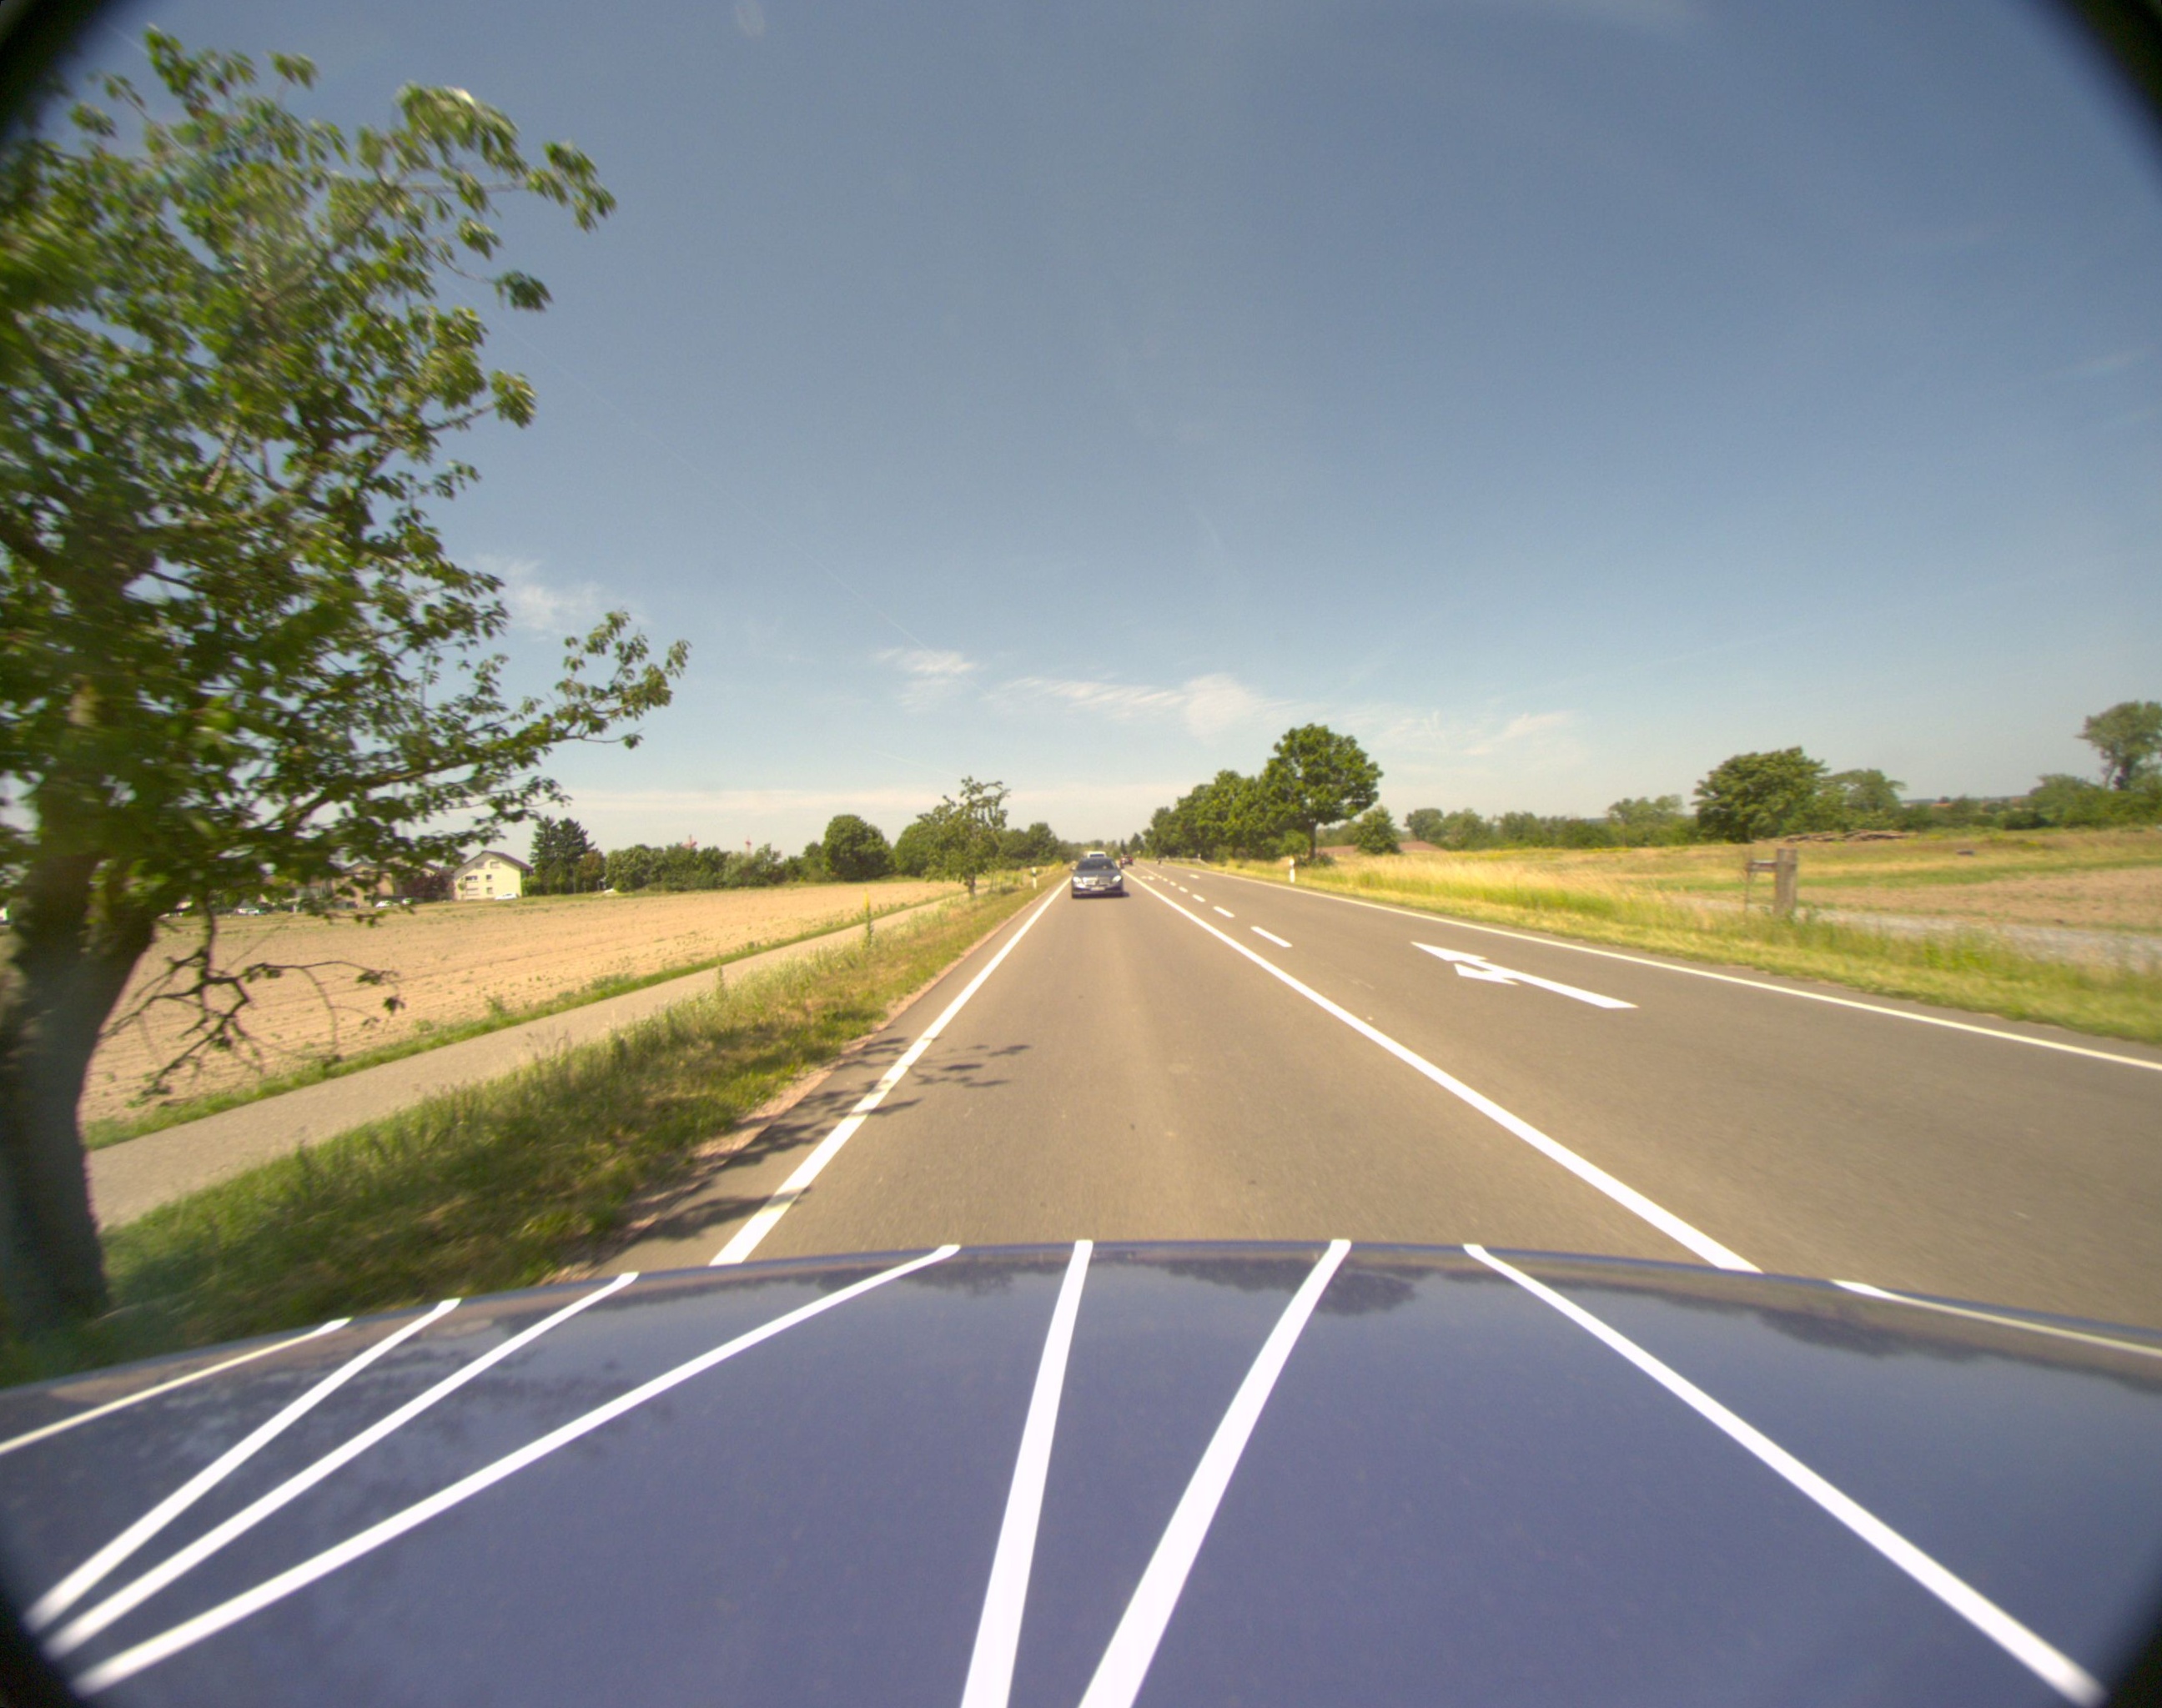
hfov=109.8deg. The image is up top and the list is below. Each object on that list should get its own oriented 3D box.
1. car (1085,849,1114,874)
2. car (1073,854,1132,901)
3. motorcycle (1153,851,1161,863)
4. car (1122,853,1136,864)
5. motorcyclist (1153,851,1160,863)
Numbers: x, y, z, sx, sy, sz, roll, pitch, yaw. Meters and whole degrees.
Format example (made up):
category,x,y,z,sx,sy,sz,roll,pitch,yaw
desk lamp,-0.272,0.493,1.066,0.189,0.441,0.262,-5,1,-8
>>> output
category,x,y,z,sx,sy,sz,roll,pitch,yaw
car,1.739,0.634,69.978,2.179,2.002,5.026,-6,0,4
car,0.901,0.822,28.659,1.831,1.540,4.500,-3,0,5
motorcycle,11.377,0.463,113.845,0.890,1.733,2.445,-2,0,2
car,6.891,0.588,110.197,1.744,1.464,4.618,-2,0,0
motorcyclist,11.374,0.462,113.876,0.855,1.711,1.088,-2,1,0
